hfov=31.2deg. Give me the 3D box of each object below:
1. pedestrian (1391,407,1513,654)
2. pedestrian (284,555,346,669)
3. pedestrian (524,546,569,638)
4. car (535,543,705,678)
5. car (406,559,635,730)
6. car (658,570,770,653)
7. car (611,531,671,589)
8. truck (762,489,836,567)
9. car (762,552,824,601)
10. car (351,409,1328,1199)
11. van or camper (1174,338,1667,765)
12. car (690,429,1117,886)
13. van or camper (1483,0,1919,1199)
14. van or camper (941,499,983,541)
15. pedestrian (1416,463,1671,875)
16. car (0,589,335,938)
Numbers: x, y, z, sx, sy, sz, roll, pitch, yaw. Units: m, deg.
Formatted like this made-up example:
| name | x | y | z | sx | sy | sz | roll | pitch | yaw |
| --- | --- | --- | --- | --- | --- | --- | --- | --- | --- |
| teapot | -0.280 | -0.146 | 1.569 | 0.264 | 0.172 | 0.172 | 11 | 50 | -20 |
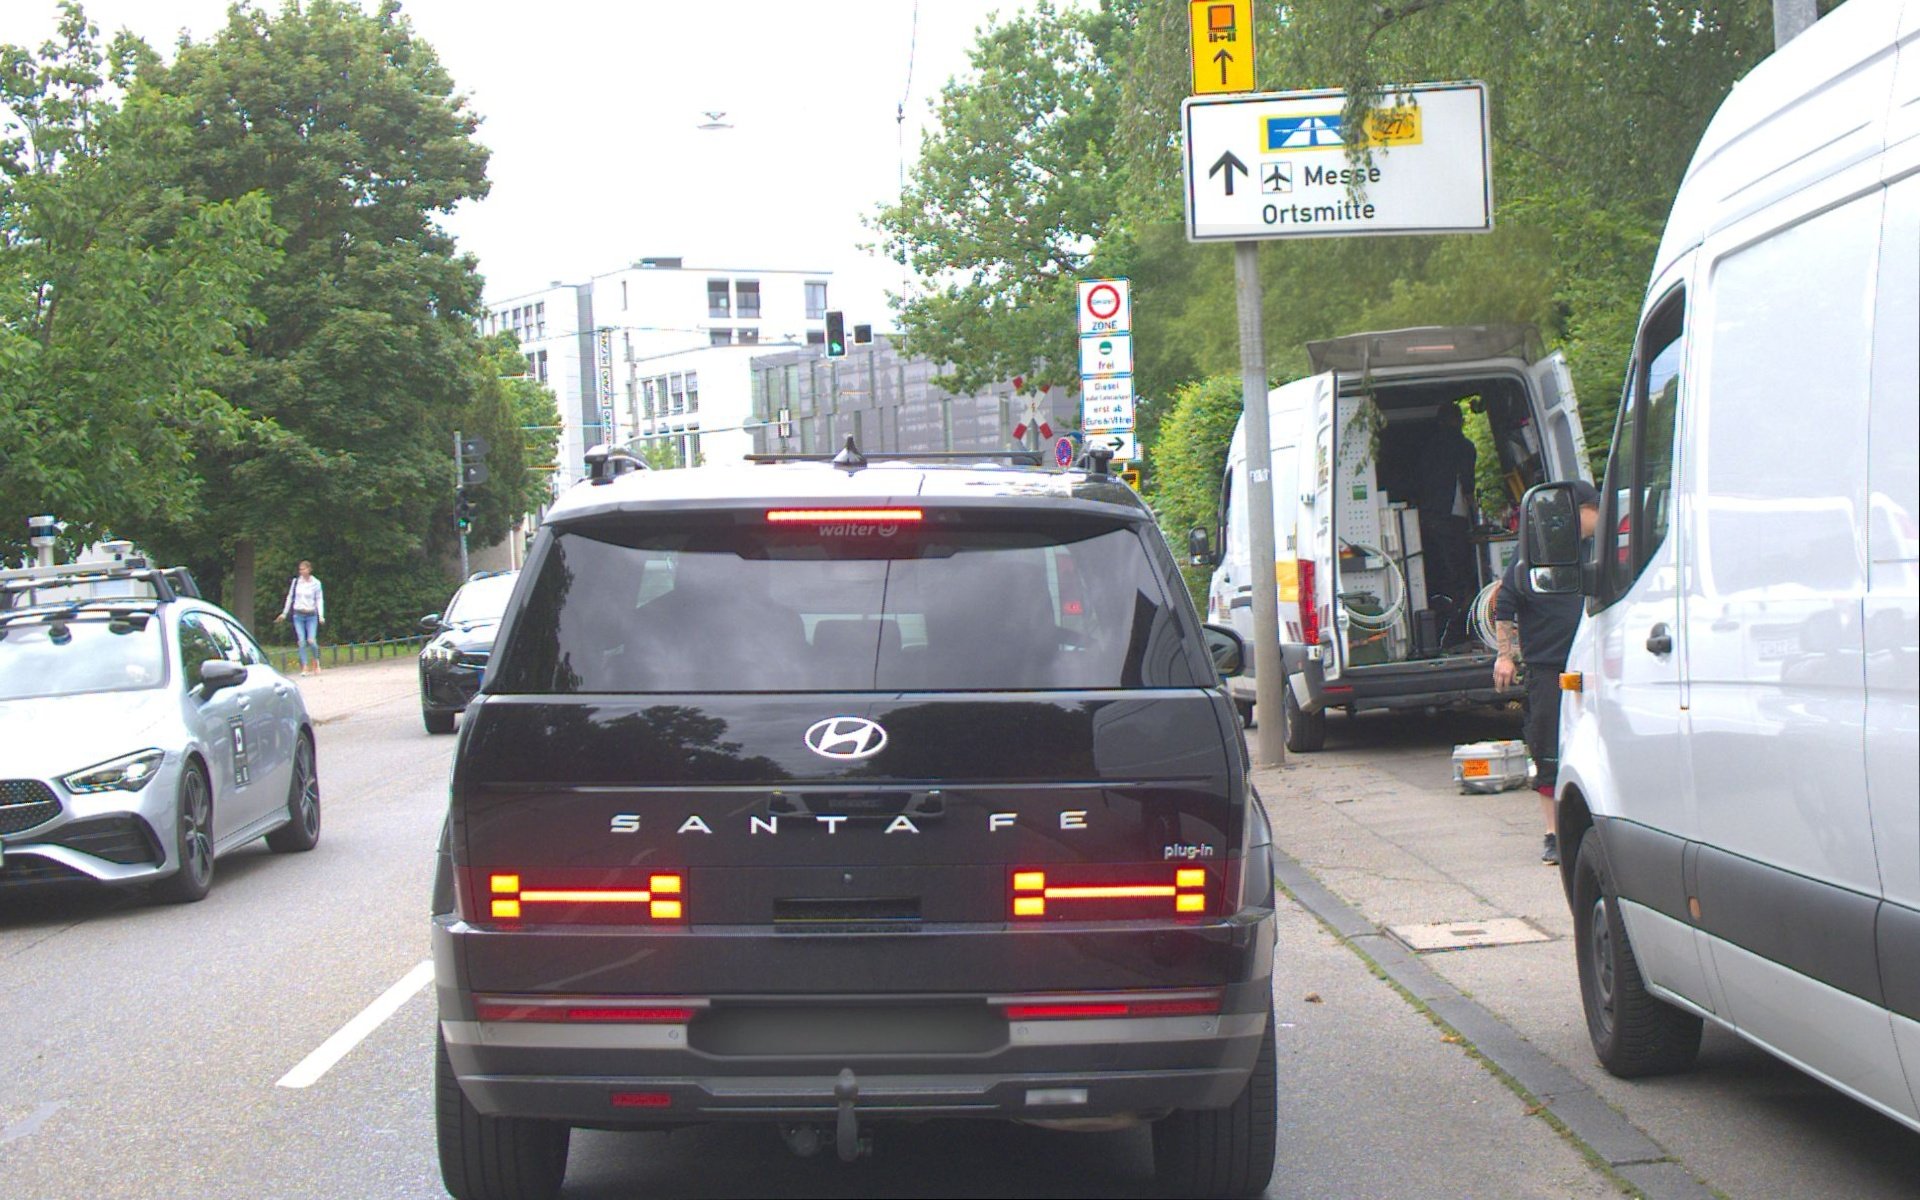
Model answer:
| name | x | y | z | sx | sy | sz | roll | pitch | yaw |
| --- | --- | --- | --- | --- | --- | --- | --- | --- | --- |
| pedestrian | 3.403 | -0.473 | 23.747 | 0.736 | 1.638 | 0.801 | -3 | 0 | 9 |
| pedestrian | -9.946 | 0.178 | 53.025 | 0.767 | 1.742 | 0.904 | -1 | 0 | 0 |
| pedestrian | -9.119 | -0.186 | 75.833 | 0.830 | 2.007 | 1.047 | 1 | 0 | 2 |
| car | -4.631 | 0.115 | 47.370 | 1.880 | 1.639 | 4.128 | -4 | 1 | -1 |
| car | -4.271 | 0.396 | 33.935 | 1.701 | 1.478 | 4.000 | -4 | 1 | -1 |
| car | -4.809 | 0.198 | 67.675 | 1.814 | 1.414 | 4.829 | -5 | 1 | -1 |
| car | -13.357 | -1.683 | 143.741 | 2.332 | 2.307 | 4.959 | -2 | 1 | -6 |
| truck | -8.469 | -3.702 | 179.868 | 3.107 | 3.846 | 9.623 | -2 | 1 | -6 |
| car | -5.529 | -0.808 | 114.327 | 1.838 | 1.533 | 4.268 | -2 | 1 | -1 |
| car | -0.260 | 0.507 | 8.750 | 1.897 | 1.770 | 3.994 | 1 | 0 | -1 |
| van or camper | 3.102 | -0.297 | 24.924 | 2.340 | 2.486 | 6.603 | -5 | 0 | -1 |
| car | -0.275 | 0.243 | 17.476 | 1.897 | 2.035 | 3.994 | 1 | 0 | -1 |
| van or camper | 2.628 | 0.019 | 6.551 | 1.991 | 2.616 | 6.544 | -5 | 1 | -1 |
| van or camper | 0.100 | -4.002 | 172.139 | 1.795 | 1.992 | 3.824 | 1 | 0 | -4 |
| pedestrian | 2.573 | 0.293 | 15.128 | 0.790 | 1.715 | 0.751 | -5 | 0 | 24 |
| car | -4.332 | 0.720 | 16.651 | 1.756 | 1.398 | 4.414 | -4 | 1 | -1 |
